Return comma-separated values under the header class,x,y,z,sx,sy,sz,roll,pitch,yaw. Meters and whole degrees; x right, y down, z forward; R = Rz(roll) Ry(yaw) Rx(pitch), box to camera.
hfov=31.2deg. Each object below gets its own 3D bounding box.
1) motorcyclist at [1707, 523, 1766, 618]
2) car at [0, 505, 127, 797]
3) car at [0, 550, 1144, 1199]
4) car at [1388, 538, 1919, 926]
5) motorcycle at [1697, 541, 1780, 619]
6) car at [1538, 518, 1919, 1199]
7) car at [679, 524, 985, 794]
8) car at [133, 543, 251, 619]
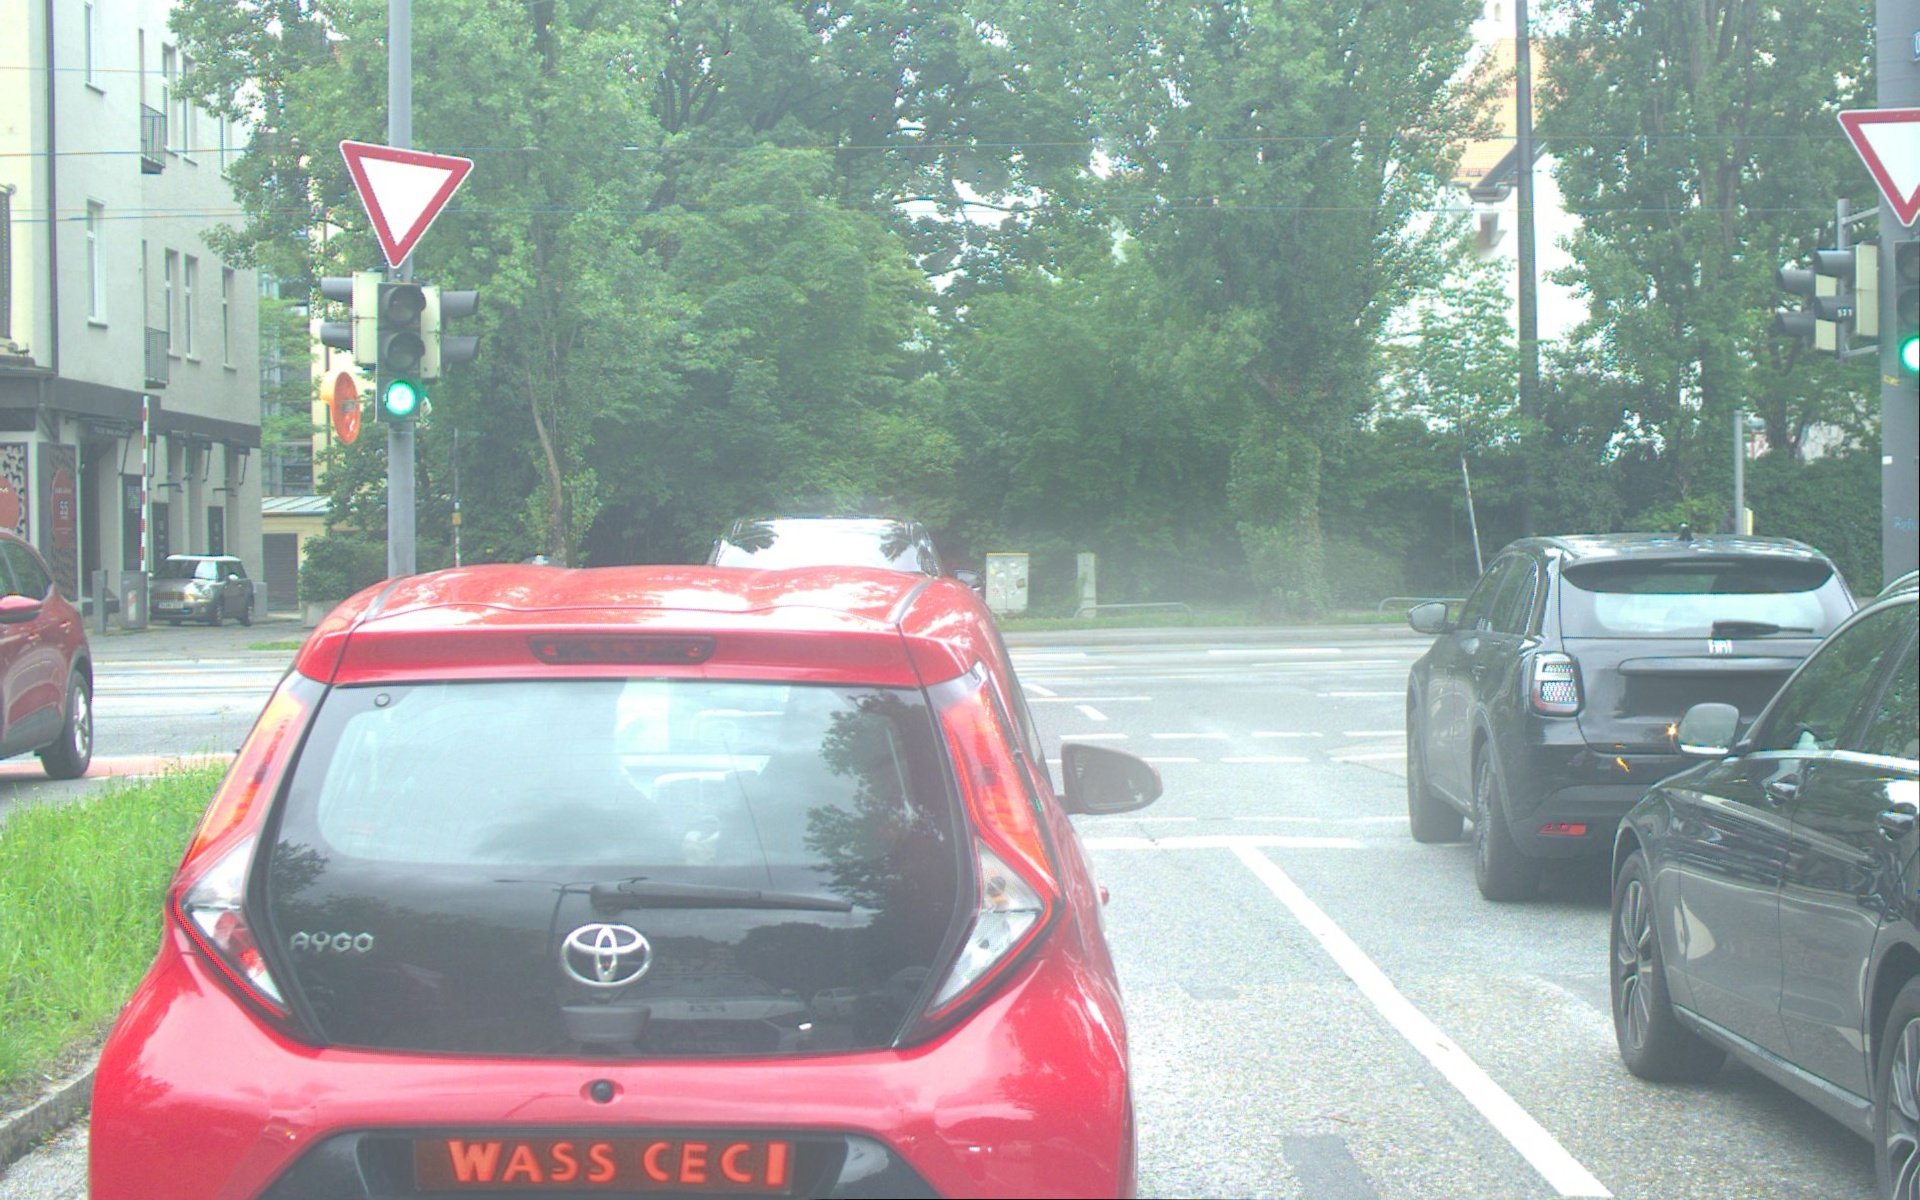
class,x,y,z,sx,sy,sz,roll,pitch,yaw
motorcyclist,11.929,-0.447,52.809,0.618,1.438,0.882,1,0,-6
car,-6.630,0.294,20.900,2.103,1.632,4.940,-2,2,-3
car,-0.535,0.645,6.620,1.628,1.435,3.377,-1,1,1
car,2.987,0.488,15.364,1.781,1.481,4.000,-1,1,2
motorcycle,11.938,-0.312,52.754,0.628,1.165,2.030,1,0,-5
car,2.696,0.600,7.985,1.863,1.544,4.704,1,1,0
car,-0.726,0.298,22.286,1.736,1.544,4.576,-1,1,1
car,-15.422,-0.398,69.189,1.725,1.437,4.001,-1,1,-4
